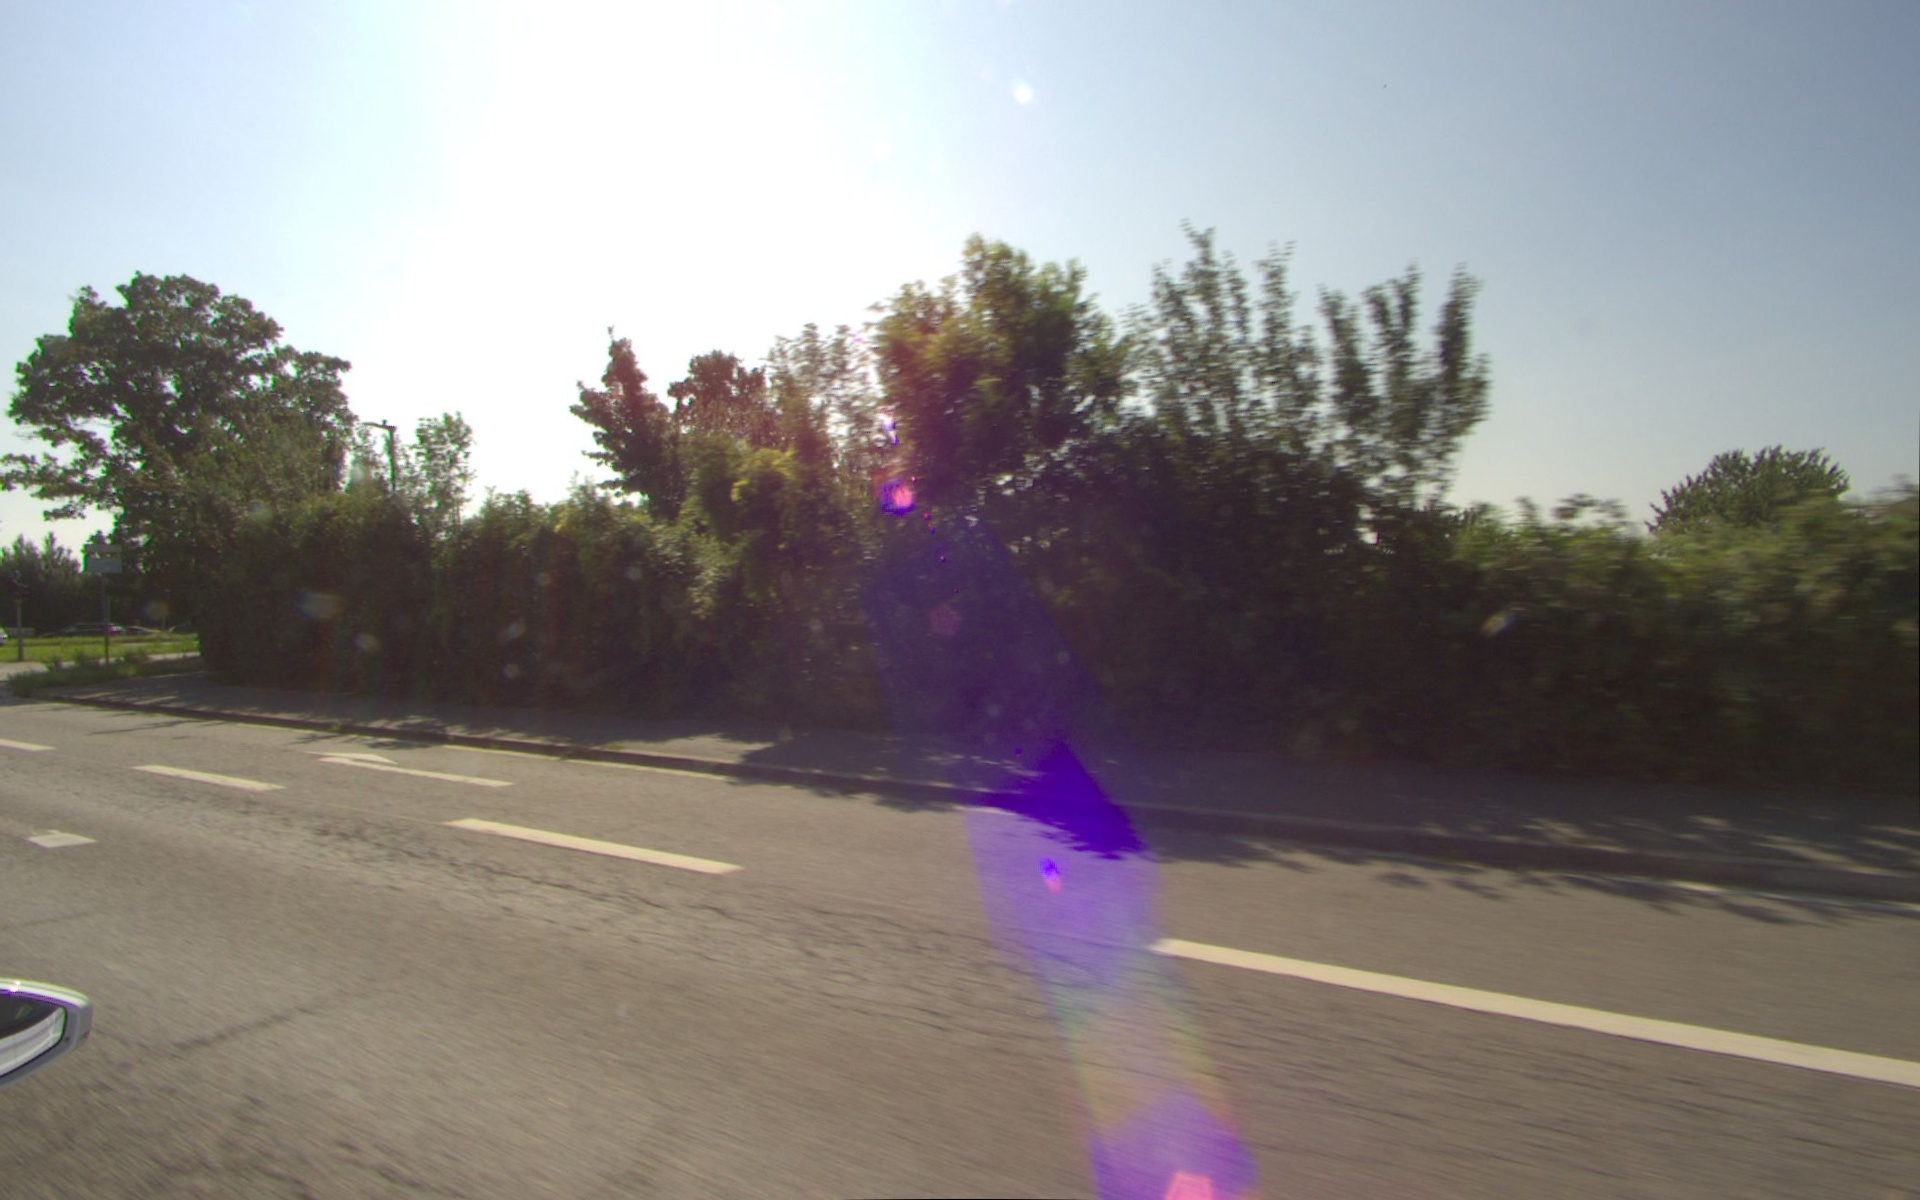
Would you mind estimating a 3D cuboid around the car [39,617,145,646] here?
[{"bbox_3d":[-50.688,1.843,58.543,4.383,1.655,1.887,0,-2,-7],"label":"car"}]

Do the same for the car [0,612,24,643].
[{"bbox_3d":[-48.280,1.366,48.712,3.704,1.488,1.775,-1,0,-33],"label":"car"}]

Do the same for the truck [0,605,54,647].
[{"bbox_3d":[-59.274,1.619,60.789,6.349,2.416,2.347,-1,-2,-1],"label":"truck"}]
